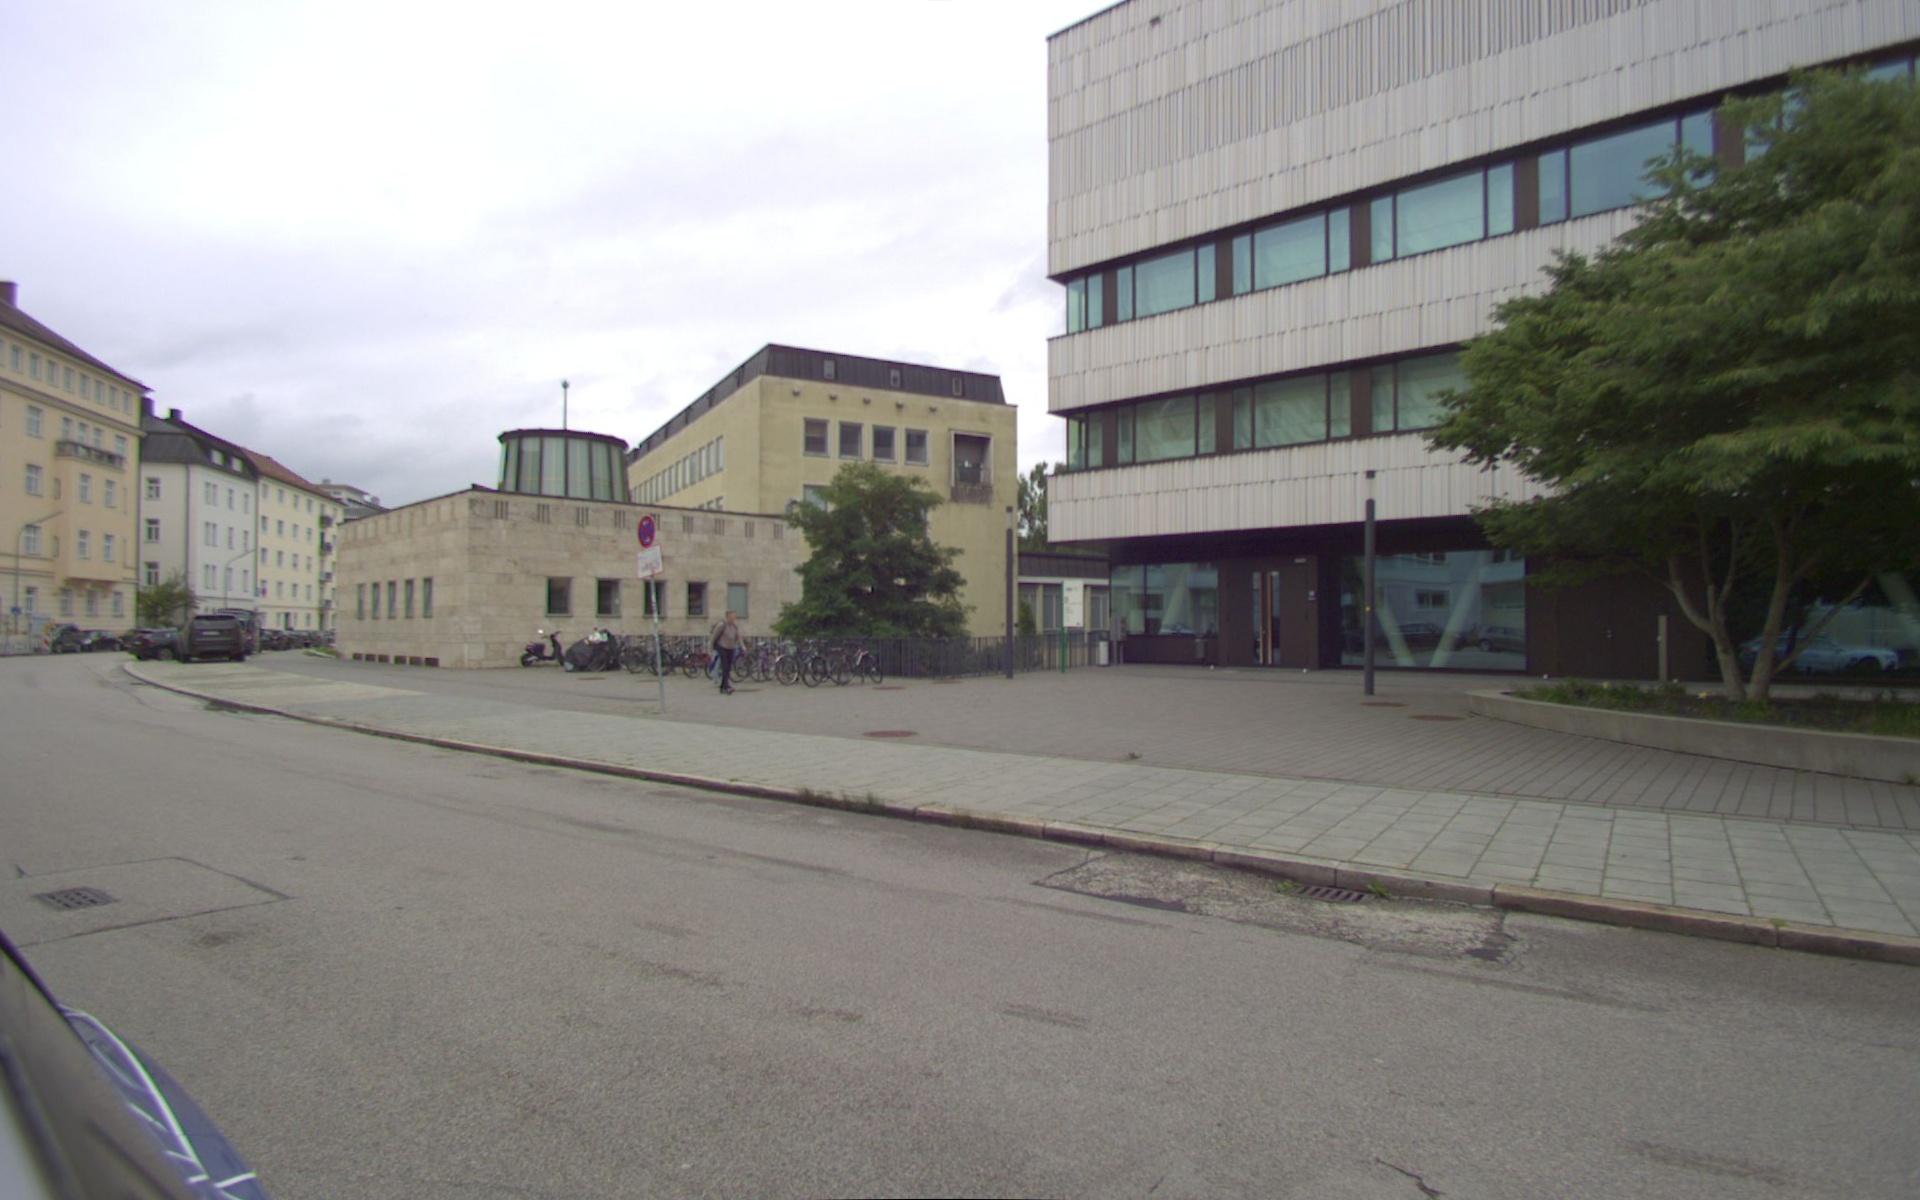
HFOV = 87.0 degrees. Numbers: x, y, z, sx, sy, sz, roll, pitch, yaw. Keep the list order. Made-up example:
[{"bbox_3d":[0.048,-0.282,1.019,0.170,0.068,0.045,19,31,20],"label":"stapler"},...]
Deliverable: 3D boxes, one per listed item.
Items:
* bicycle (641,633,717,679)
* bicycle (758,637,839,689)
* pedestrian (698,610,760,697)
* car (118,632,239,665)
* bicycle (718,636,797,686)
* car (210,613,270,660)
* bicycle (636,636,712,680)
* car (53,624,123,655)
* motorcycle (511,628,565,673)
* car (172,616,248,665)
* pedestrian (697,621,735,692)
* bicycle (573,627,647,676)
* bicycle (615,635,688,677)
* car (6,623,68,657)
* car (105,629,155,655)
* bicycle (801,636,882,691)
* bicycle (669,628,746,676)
[{"bbox_3d":[-7.476,1.477,27.006,0.615,1.119,2.029,-3,-1,33],"label":"bicycle"},{"bbox_3d":[-3.851,1.494,24.242,0.616,1.119,2.026,-3,-1,37],"label":"bicycle"},{"bbox_3d":[-4.915,1.118,21.522,1.010,1.796,0.781,-1,0,30],"label":"pedestrian"},{"bbox_3d":[-35.356,2.207,45.920,1.738,1.384,3.977,1,-3,22],"label":"car"},{"bbox_3d":[-5.033,1.509,25.293,0.616,1.119,2.026,-3,-1,37],"label":"bicycle"},{"bbox_3d":[-42.799,2.173,60.280,2.114,2.594,6.230,2,-3,-29],"label":"car"},{"bbox_3d":[-8.114,1.621,28.778,0.617,1.119,2.023,-3,-1,44],"label":"bicycle"},{"bbox_3d":[-53.955,2.409,62.701,1.811,1.743,3.741,-2,-1,-16],"label":"car"},{"bbox_3d":[-14.019,1.660,33.619,0.515,1.416,1.547,-3,-1,42],"label":"motorcycle"},{"bbox_3d":[-29.119,1.554,39.245,1.969,1.785,4.821,1,-3,-41],"label":"car"},{"bbox_3d":[-5.742,1.315,23.802,0.600,1.613,0.641,-2,-1,15],"label":"pedestrian"},{"bbox_3d":[-10.597,1.534,30.699,0.613,1.362,2.077,-3,-1,39],"label":"bicycle"},{"bbox_3d":[-9.075,1.645,29.880,0.616,1.119,2.024,-3,-1,41],"label":"bicycle"},{"bbox_3d":[-52.214,2.257,57.309,1.811,1.812,4.250,-2,-1,-32],"label":"car"},{"bbox_3d":[-55.741,2.805,67.983,1.487,1.568,2.870,-2,-1,-14],"label":"car"},{"bbox_3d":[-2.719,1.444,23.399,0.616,1.119,2.026,-3,-1,37],"label":"bicycle"},{"bbox_3d":[-6.524,1.340,26.267,0.615,1.119,2.029,-3,-1,33],"label":"bicycle"}]
